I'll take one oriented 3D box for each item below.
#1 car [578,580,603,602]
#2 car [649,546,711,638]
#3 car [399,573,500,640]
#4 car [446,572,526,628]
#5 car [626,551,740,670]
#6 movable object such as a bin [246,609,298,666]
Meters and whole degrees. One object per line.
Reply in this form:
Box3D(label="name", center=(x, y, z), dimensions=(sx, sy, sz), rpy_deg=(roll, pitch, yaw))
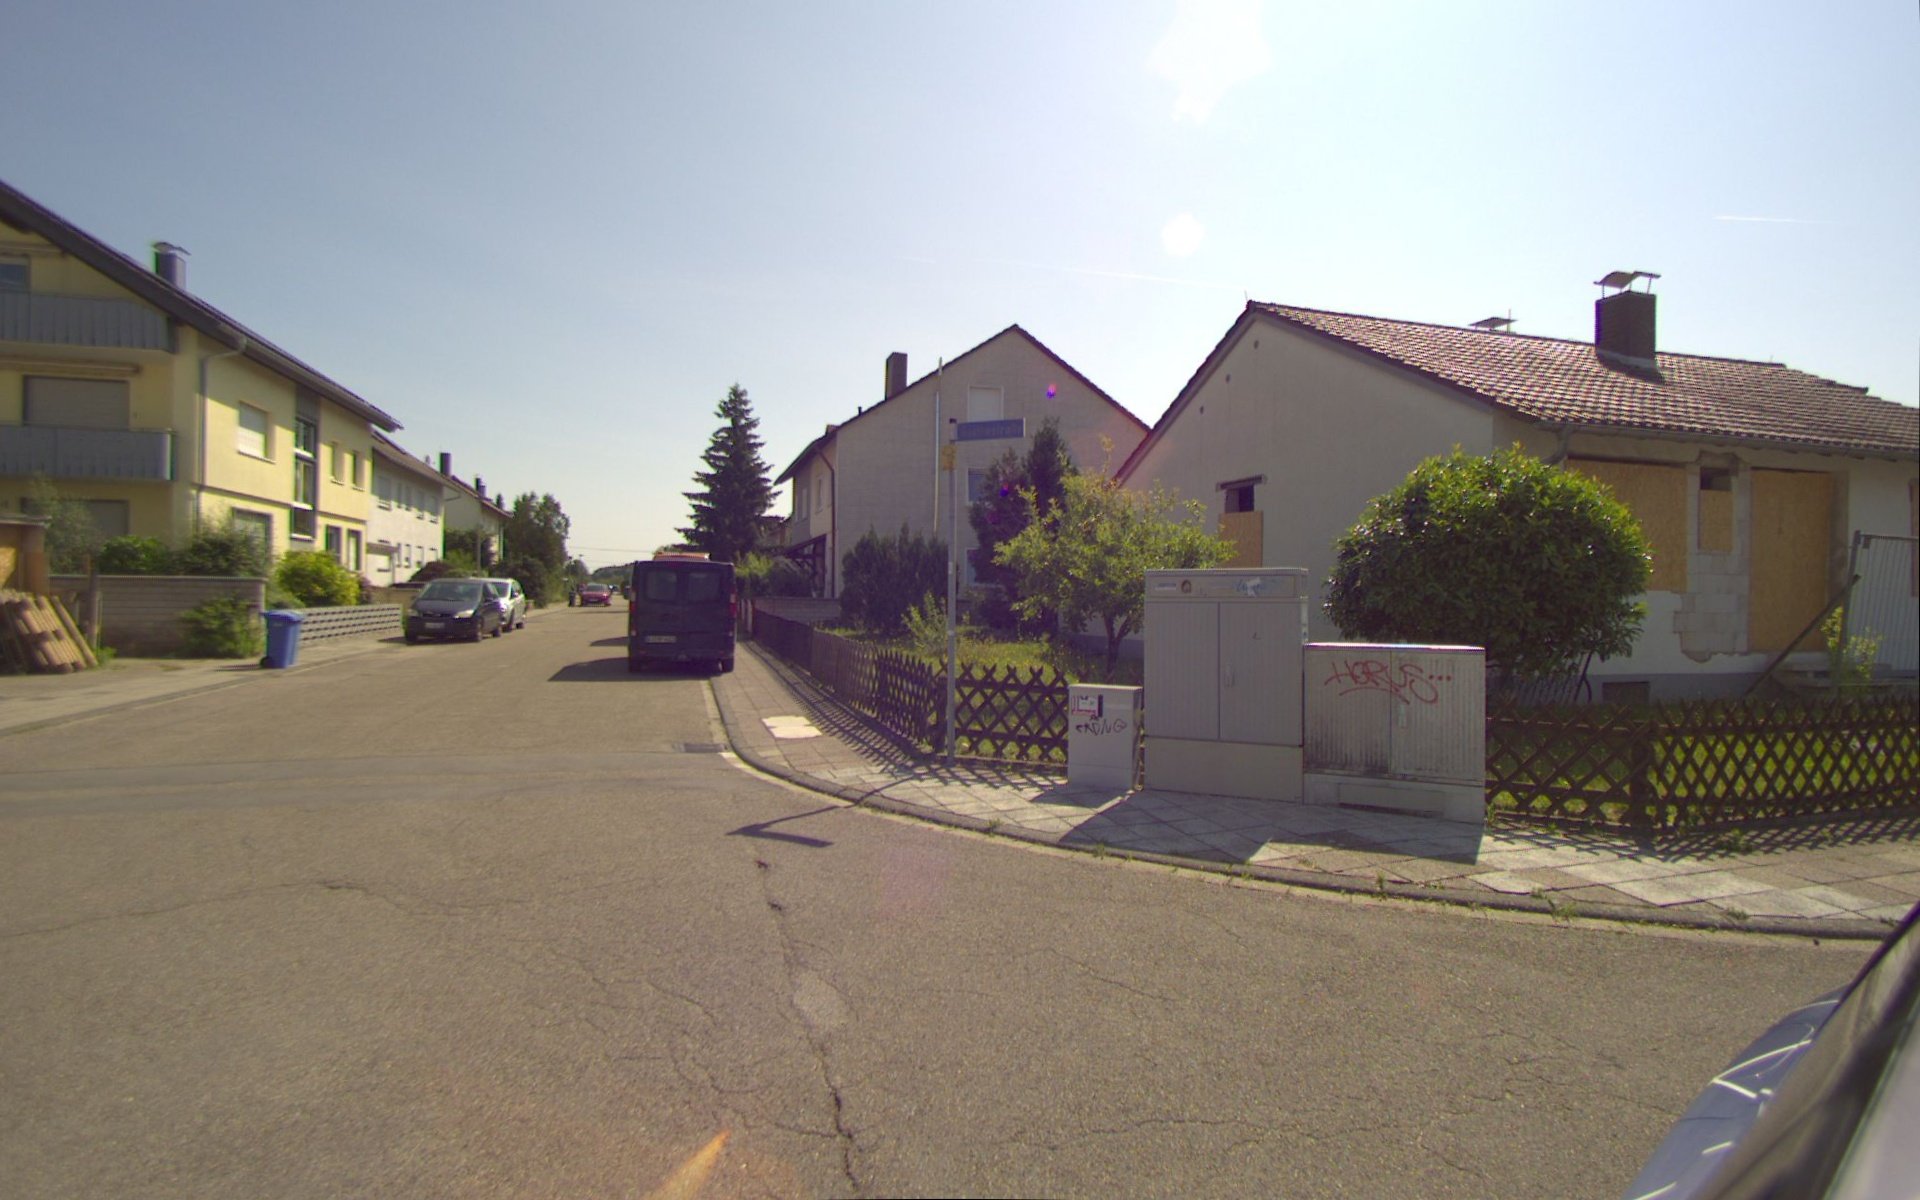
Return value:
Box3D(label="car", center=(-24.705, -0.584, 67.764), dimensions=(1.486, 1.424, 3.685), rpy_deg=(0, 0, -19))
Box3D(label="car", center=(-7.806, -0.239, 28.033), dimensions=(1.523, 2.352, 4.213), rpy_deg=(0, 1, -17))
Box3D(label="car", center=(-13.394, 0.135, 26.754), dimensions=(1.599, 1.646, 4.008), rpy_deg=(0, 0, -15))
Box3D(label="car", center=(-14.966, -0.025, 32.128), dimensions=(1.599, 1.646, 4.008), rpy_deg=(0, 0, -15))
Box3D(label="car", center=(-5.234, 0.129, 18.946), dimensions=(1.832, 1.962, 4.213), rpy_deg=(0, 1, -17))
Box3D(label="movable object such as a bin", center=(-11.742, 0.629, 17.283), dimensions=(0.572, 0.928, 0.599), rpy_deg=(0, 1, -17))
